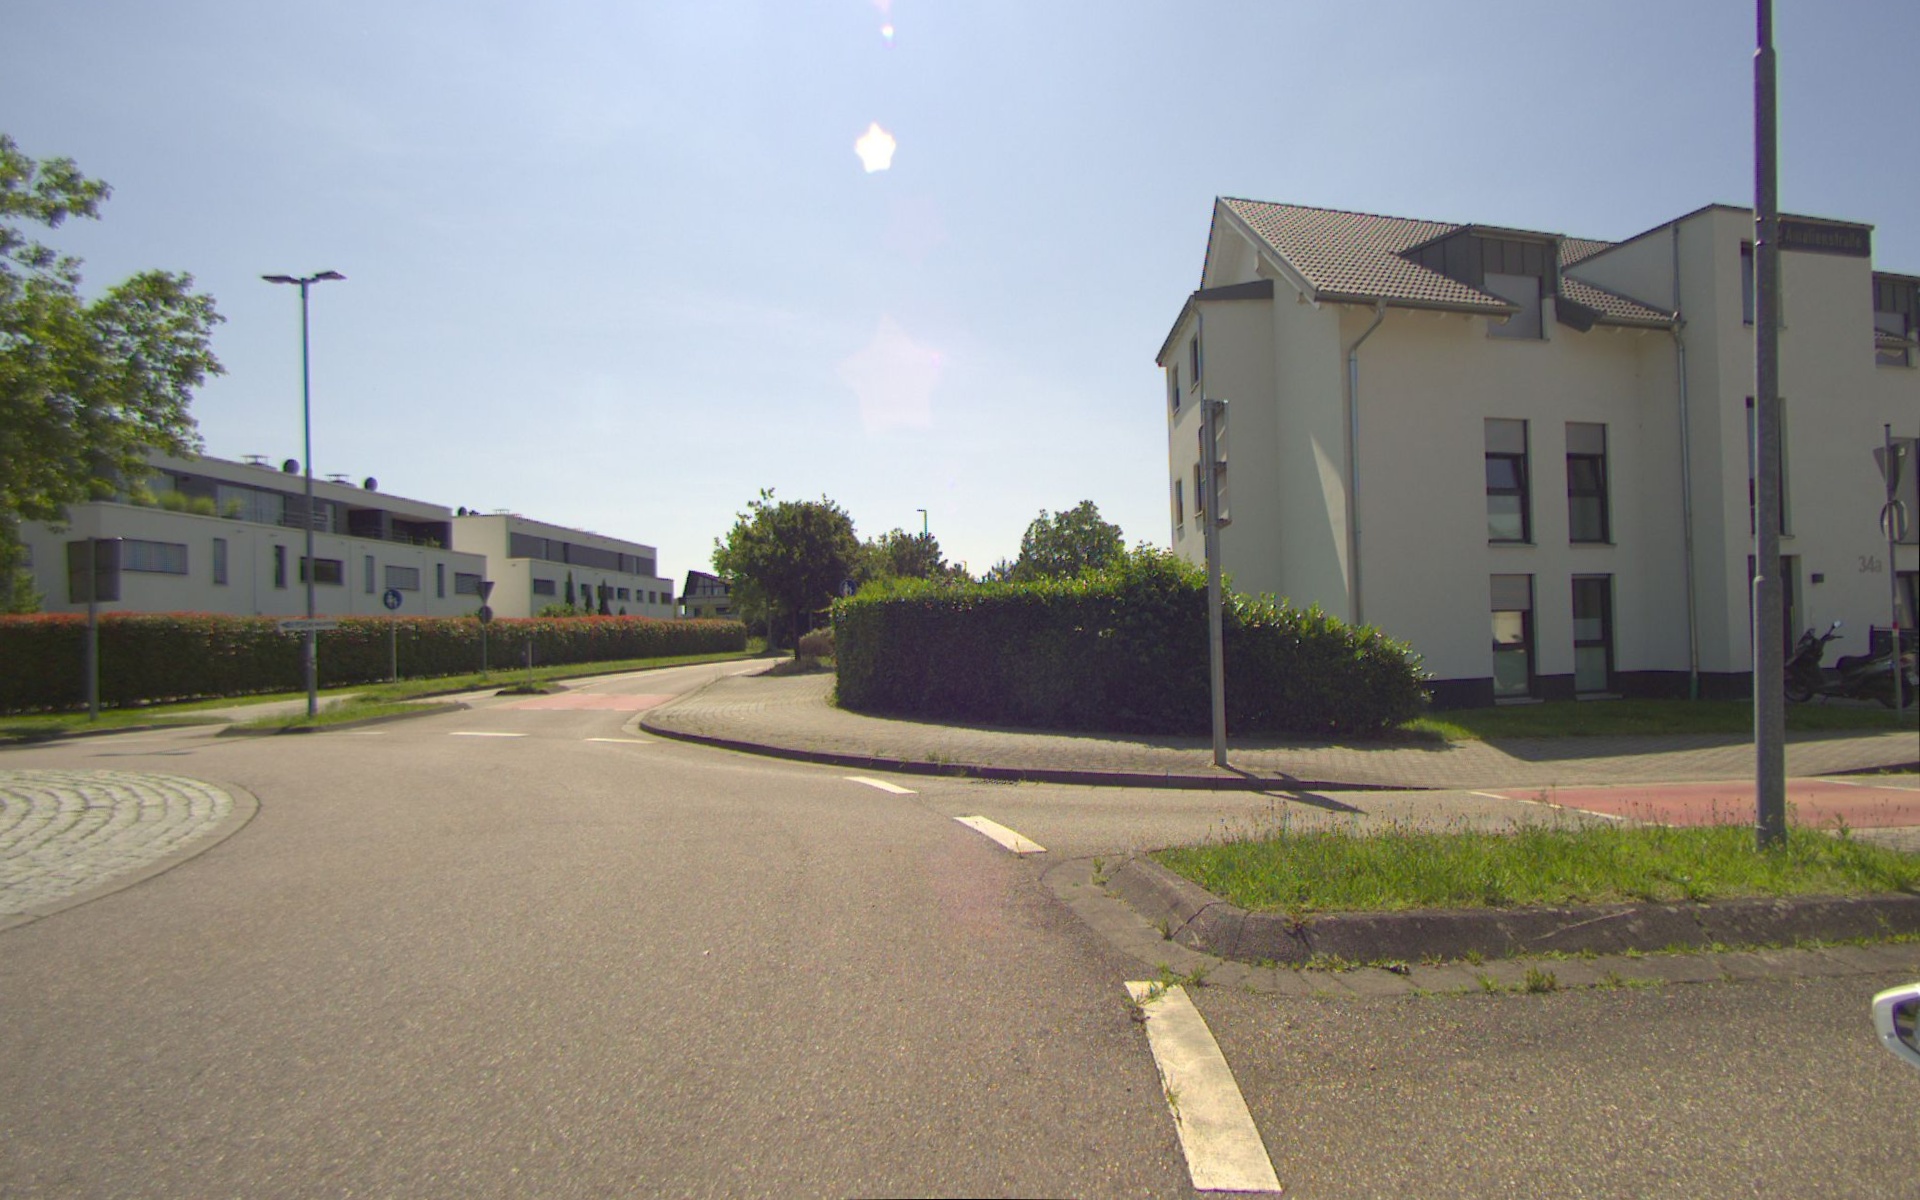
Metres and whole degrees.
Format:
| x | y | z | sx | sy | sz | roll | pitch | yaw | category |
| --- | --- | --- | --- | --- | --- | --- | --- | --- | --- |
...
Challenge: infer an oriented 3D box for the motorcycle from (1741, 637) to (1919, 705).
| x | y | z | sx | sy | sz | roll | pitch | yaw | category |
| --- | --- | --- | --- | --- | --- | --- | --- | --- | --- |
| 14.188 | 1.124 | 16.401 | 0.660 | 1.027 | 2.363 | 1 | -2 | -13 | motorcycle |
